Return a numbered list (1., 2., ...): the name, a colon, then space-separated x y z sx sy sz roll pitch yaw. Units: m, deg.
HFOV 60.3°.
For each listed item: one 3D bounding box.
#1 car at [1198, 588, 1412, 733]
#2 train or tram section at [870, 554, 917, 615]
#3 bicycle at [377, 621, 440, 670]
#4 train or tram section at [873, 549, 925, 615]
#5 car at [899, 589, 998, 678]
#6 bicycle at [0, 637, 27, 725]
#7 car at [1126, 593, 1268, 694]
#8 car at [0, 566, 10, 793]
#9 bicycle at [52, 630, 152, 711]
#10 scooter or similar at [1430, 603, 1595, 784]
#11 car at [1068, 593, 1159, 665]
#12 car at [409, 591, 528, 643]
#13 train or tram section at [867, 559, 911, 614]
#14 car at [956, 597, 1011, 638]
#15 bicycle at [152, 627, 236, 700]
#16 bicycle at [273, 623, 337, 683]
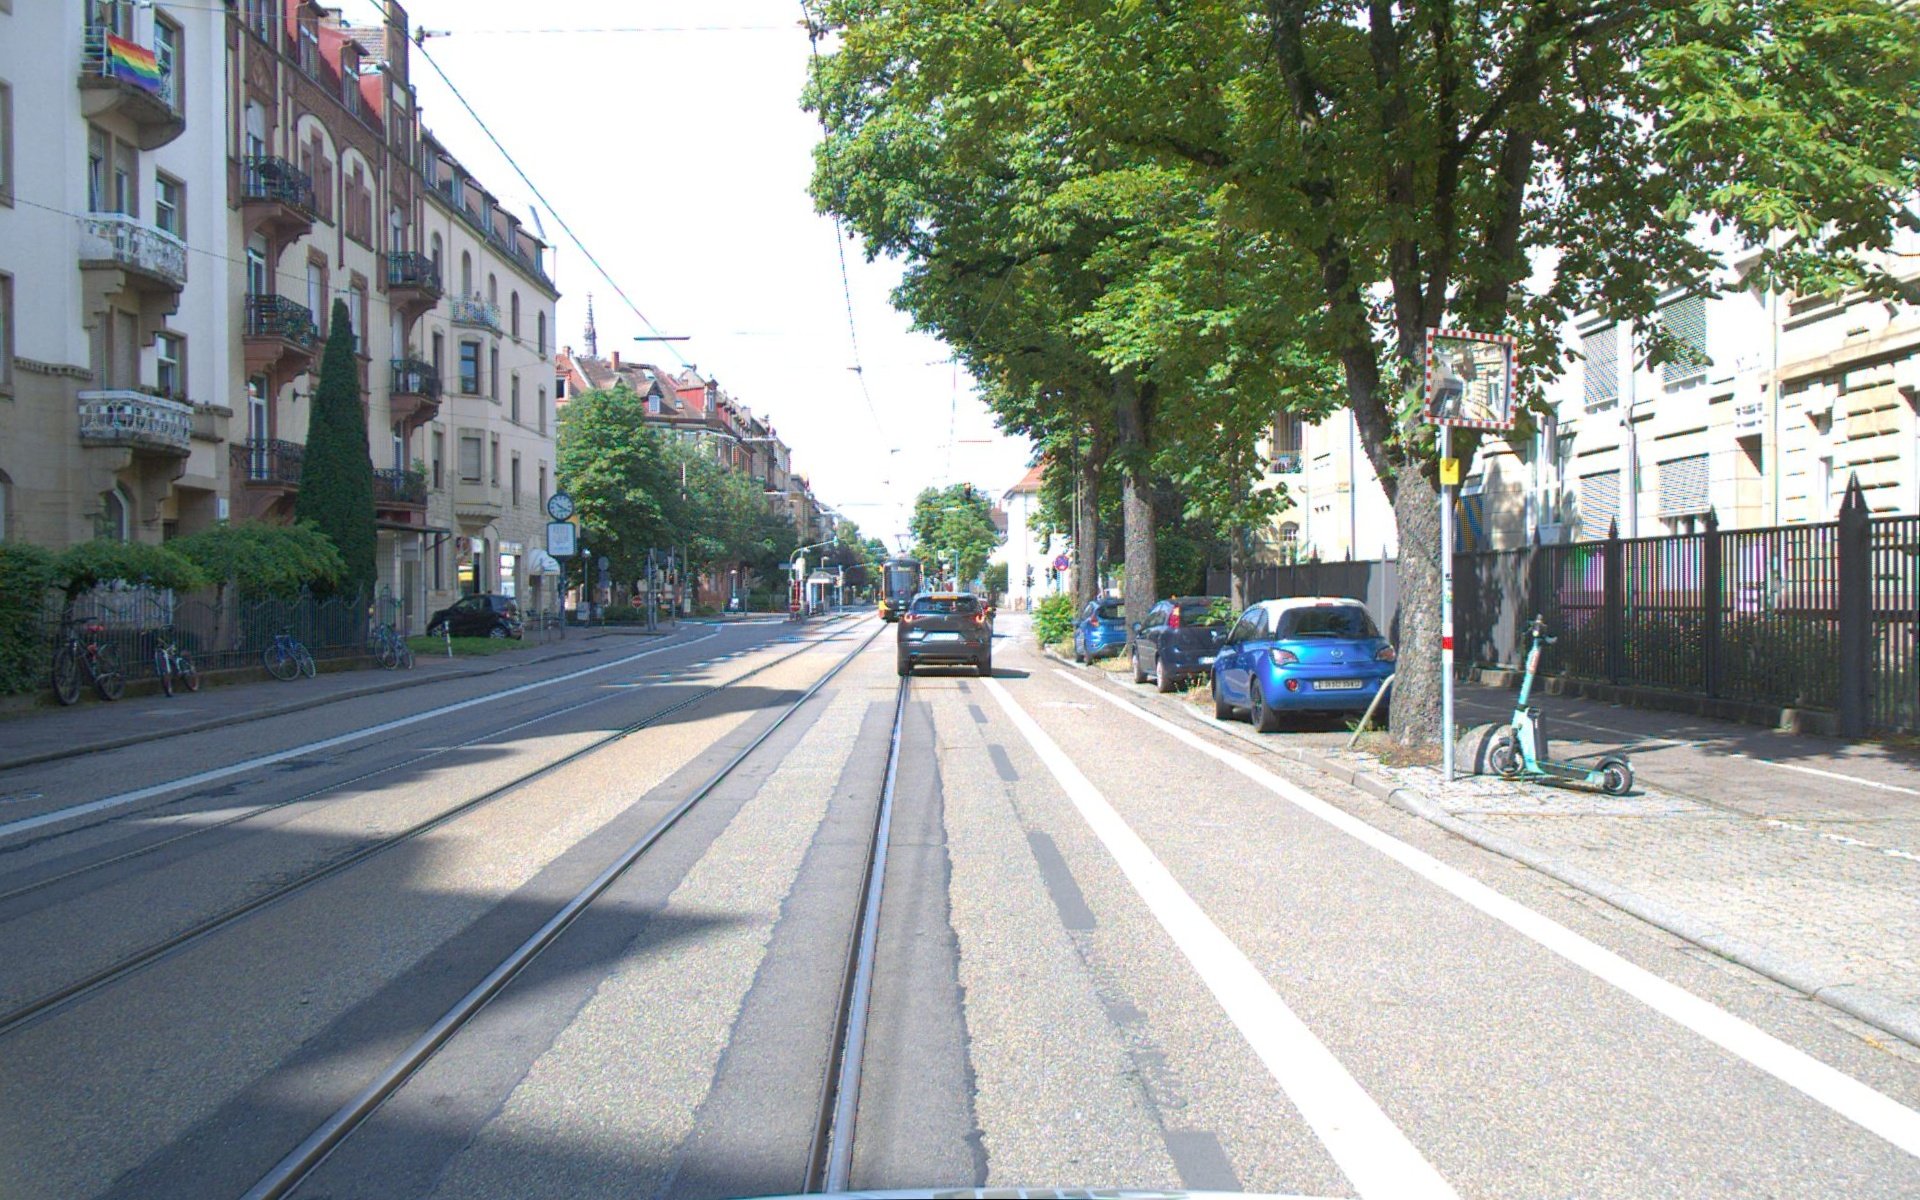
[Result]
1. car: 4.034 0.654 19.895 1.607 1.522 3.625 -2 0 -3
2. train or tram section: -4.235 -0.906 103.925 2.600 3.589 8.488 -1 0 -4
3. bicycle: -11.435 0.950 34.330 0.500 0.976 1.816 2 -1 5
4. train or tram section: -3.579 -0.953 95.397 2.600 3.589 8.488 -1 0 -4
5. car: -0.279 0.593 32.107 1.753 1.538 4.349 0 1 -3
6. bicycle: -11.154 0.933 18.510 0.442 0.976 1.800 1 0 -2
7. car: 3.903 0.668 27.796 1.607 1.522 3.755 -2 0 -4
8. car: -8.323 0.656 10.732 1.750 1.793 4.879 -1 0 -4
9. bicycle: -11.327 0.905 21.883 0.375 0.976 1.801 1 0 0
10. scooter or similar: 4.315 0.698 12.961 0.436 1.322 1.169 -4 2 -32
11. car: 3.499 0.635 38.246 1.591 1.522 3.846 -3 0 -2
12. car: -15.403 0.528 51.888 3.169 1.539 1.679 1 0 2
13. train or tram section: -4.883 -0.867 112.447 2.600 3.589 8.488 -1 0 -4
14. car: 0.902 0.663 65.849 1.750 1.518 4.879 -1 0 -4
15. bicycle: -11.267 0.918 24.370 0.375 0.992 1.801 1 0 0
16. bicycle: -11.372 0.909 28.767 0.417 0.976 1.705 1 0 0
